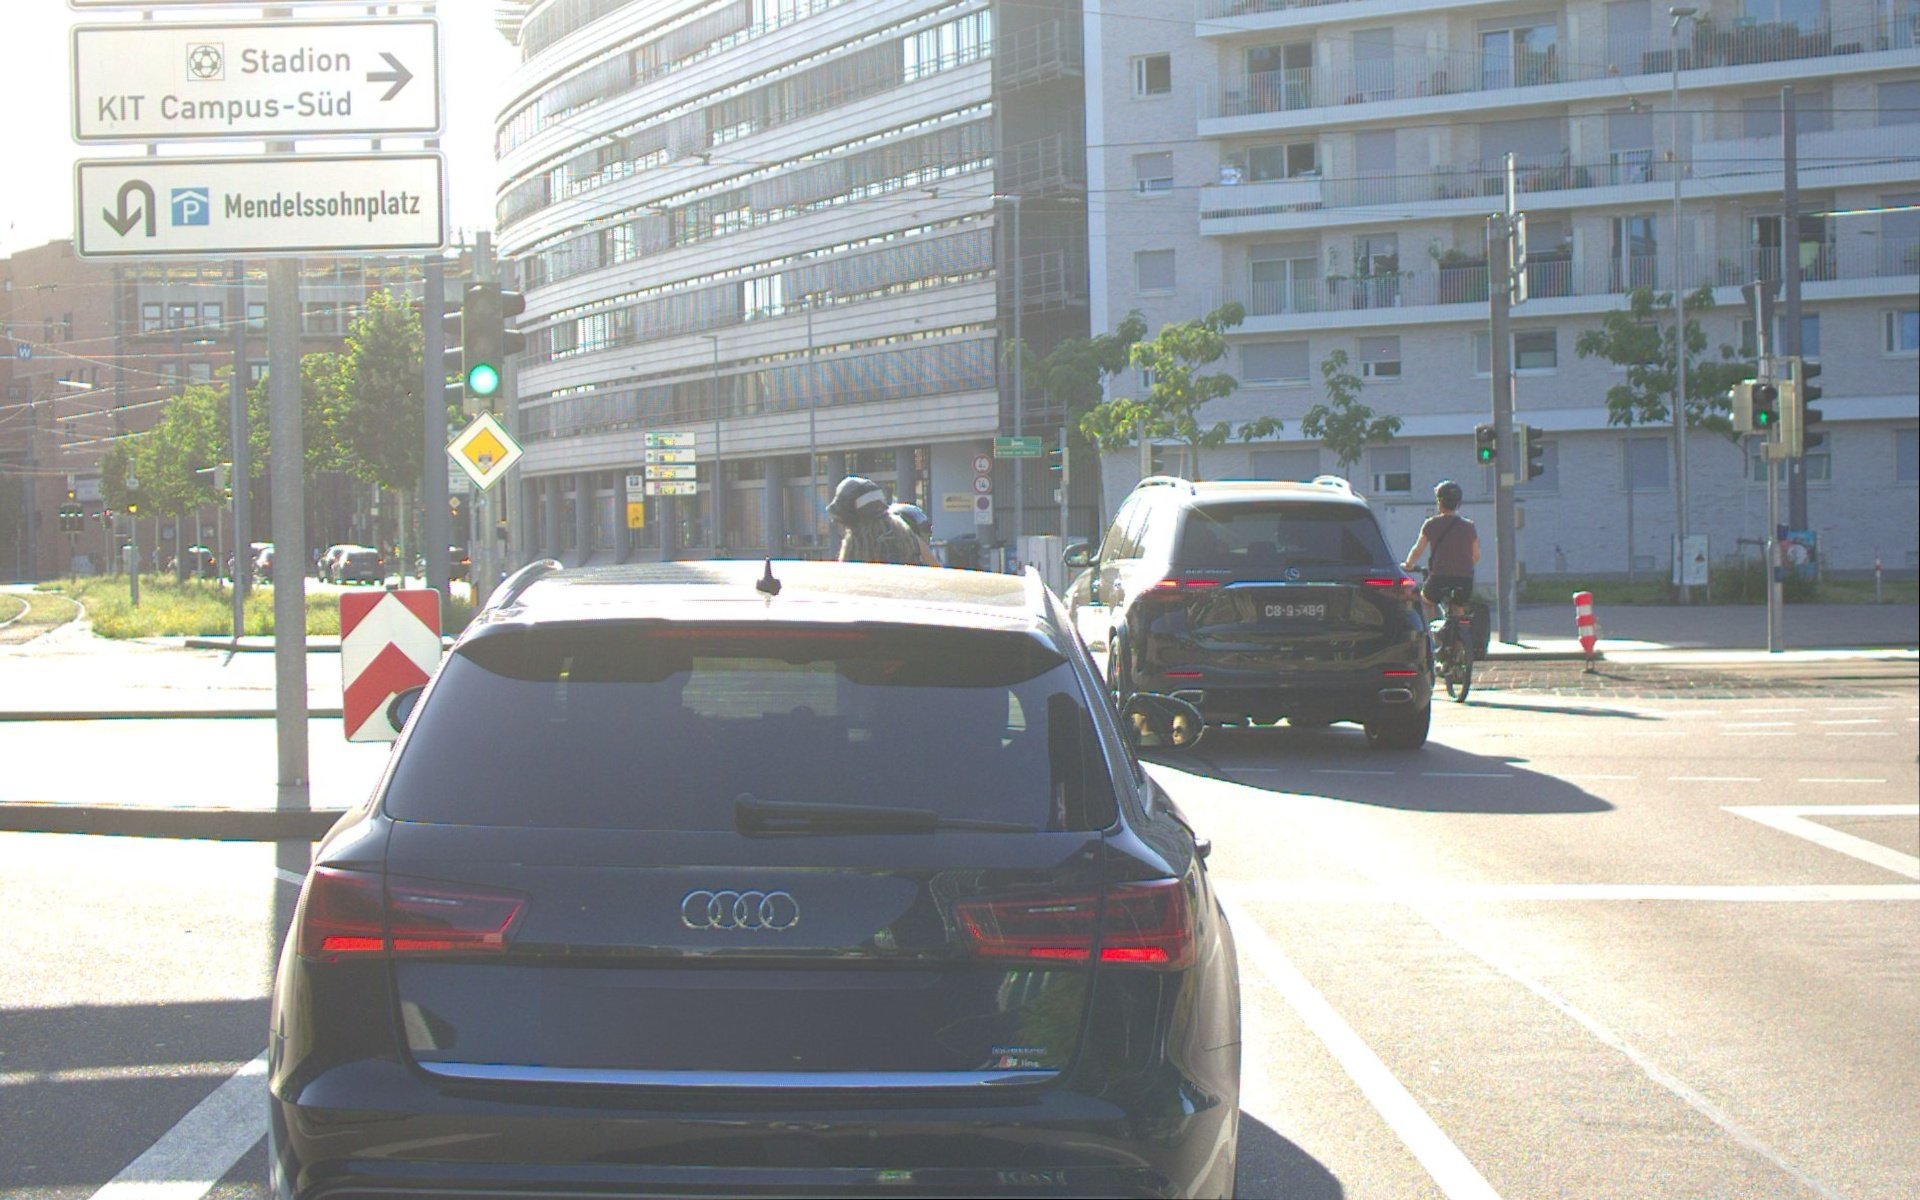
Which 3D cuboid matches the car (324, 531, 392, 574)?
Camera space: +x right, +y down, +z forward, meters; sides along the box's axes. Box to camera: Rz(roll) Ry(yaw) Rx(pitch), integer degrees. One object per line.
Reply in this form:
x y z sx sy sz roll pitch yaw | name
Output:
-23.851 -1.854 136.197 1.993 1.590 4.001 -2 1 -19 | car

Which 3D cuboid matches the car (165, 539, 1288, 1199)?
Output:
-0.426 0.616 7.687 1.842 1.449 4.001 1 1 -1 | car

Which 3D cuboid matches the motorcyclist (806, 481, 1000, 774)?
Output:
-0.275 0.118 15.983 0.862 1.322 0.681 -1 1 -3 | motorcyclist

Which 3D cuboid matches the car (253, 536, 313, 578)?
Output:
-27.345 -1.707 138.736 1.993 1.590 4.001 -2 1 -16 | car

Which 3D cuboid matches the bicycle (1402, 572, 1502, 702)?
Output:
4.226 0.302 29.635 0.654 1.039 1.929 -1 2 2 | bicycle

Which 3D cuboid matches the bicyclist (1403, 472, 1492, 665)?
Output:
4.214 -0.281 29.739 0.654 1.637 0.972 -1 1 2 | bicyclist

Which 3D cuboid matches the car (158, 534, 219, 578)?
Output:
-32.259 -1.824 143.677 1.993 1.700 4.001 -2 1 -19 | car

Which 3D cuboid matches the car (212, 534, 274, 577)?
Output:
-30.130 -1.867 144.407 1.993 1.700 4.001 -2 1 -19 | car

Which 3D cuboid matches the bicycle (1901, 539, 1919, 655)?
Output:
11.041 -0.028 36.928 0.766 1.258 2.082 -1 1 -18 | bicycle

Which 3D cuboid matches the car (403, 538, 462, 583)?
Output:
-22.748 -1.708 148.132 1.993 1.831 4.001 -2 0 -16 | car

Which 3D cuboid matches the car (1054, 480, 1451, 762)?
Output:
1.859 0.075 23.281 2.003 1.709 4.373 1 1 -4 | car

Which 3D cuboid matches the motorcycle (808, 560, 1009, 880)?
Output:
-0.266 0.519 16.131 0.862 1.388 1.894 -1 1 -3 | motorcycle
